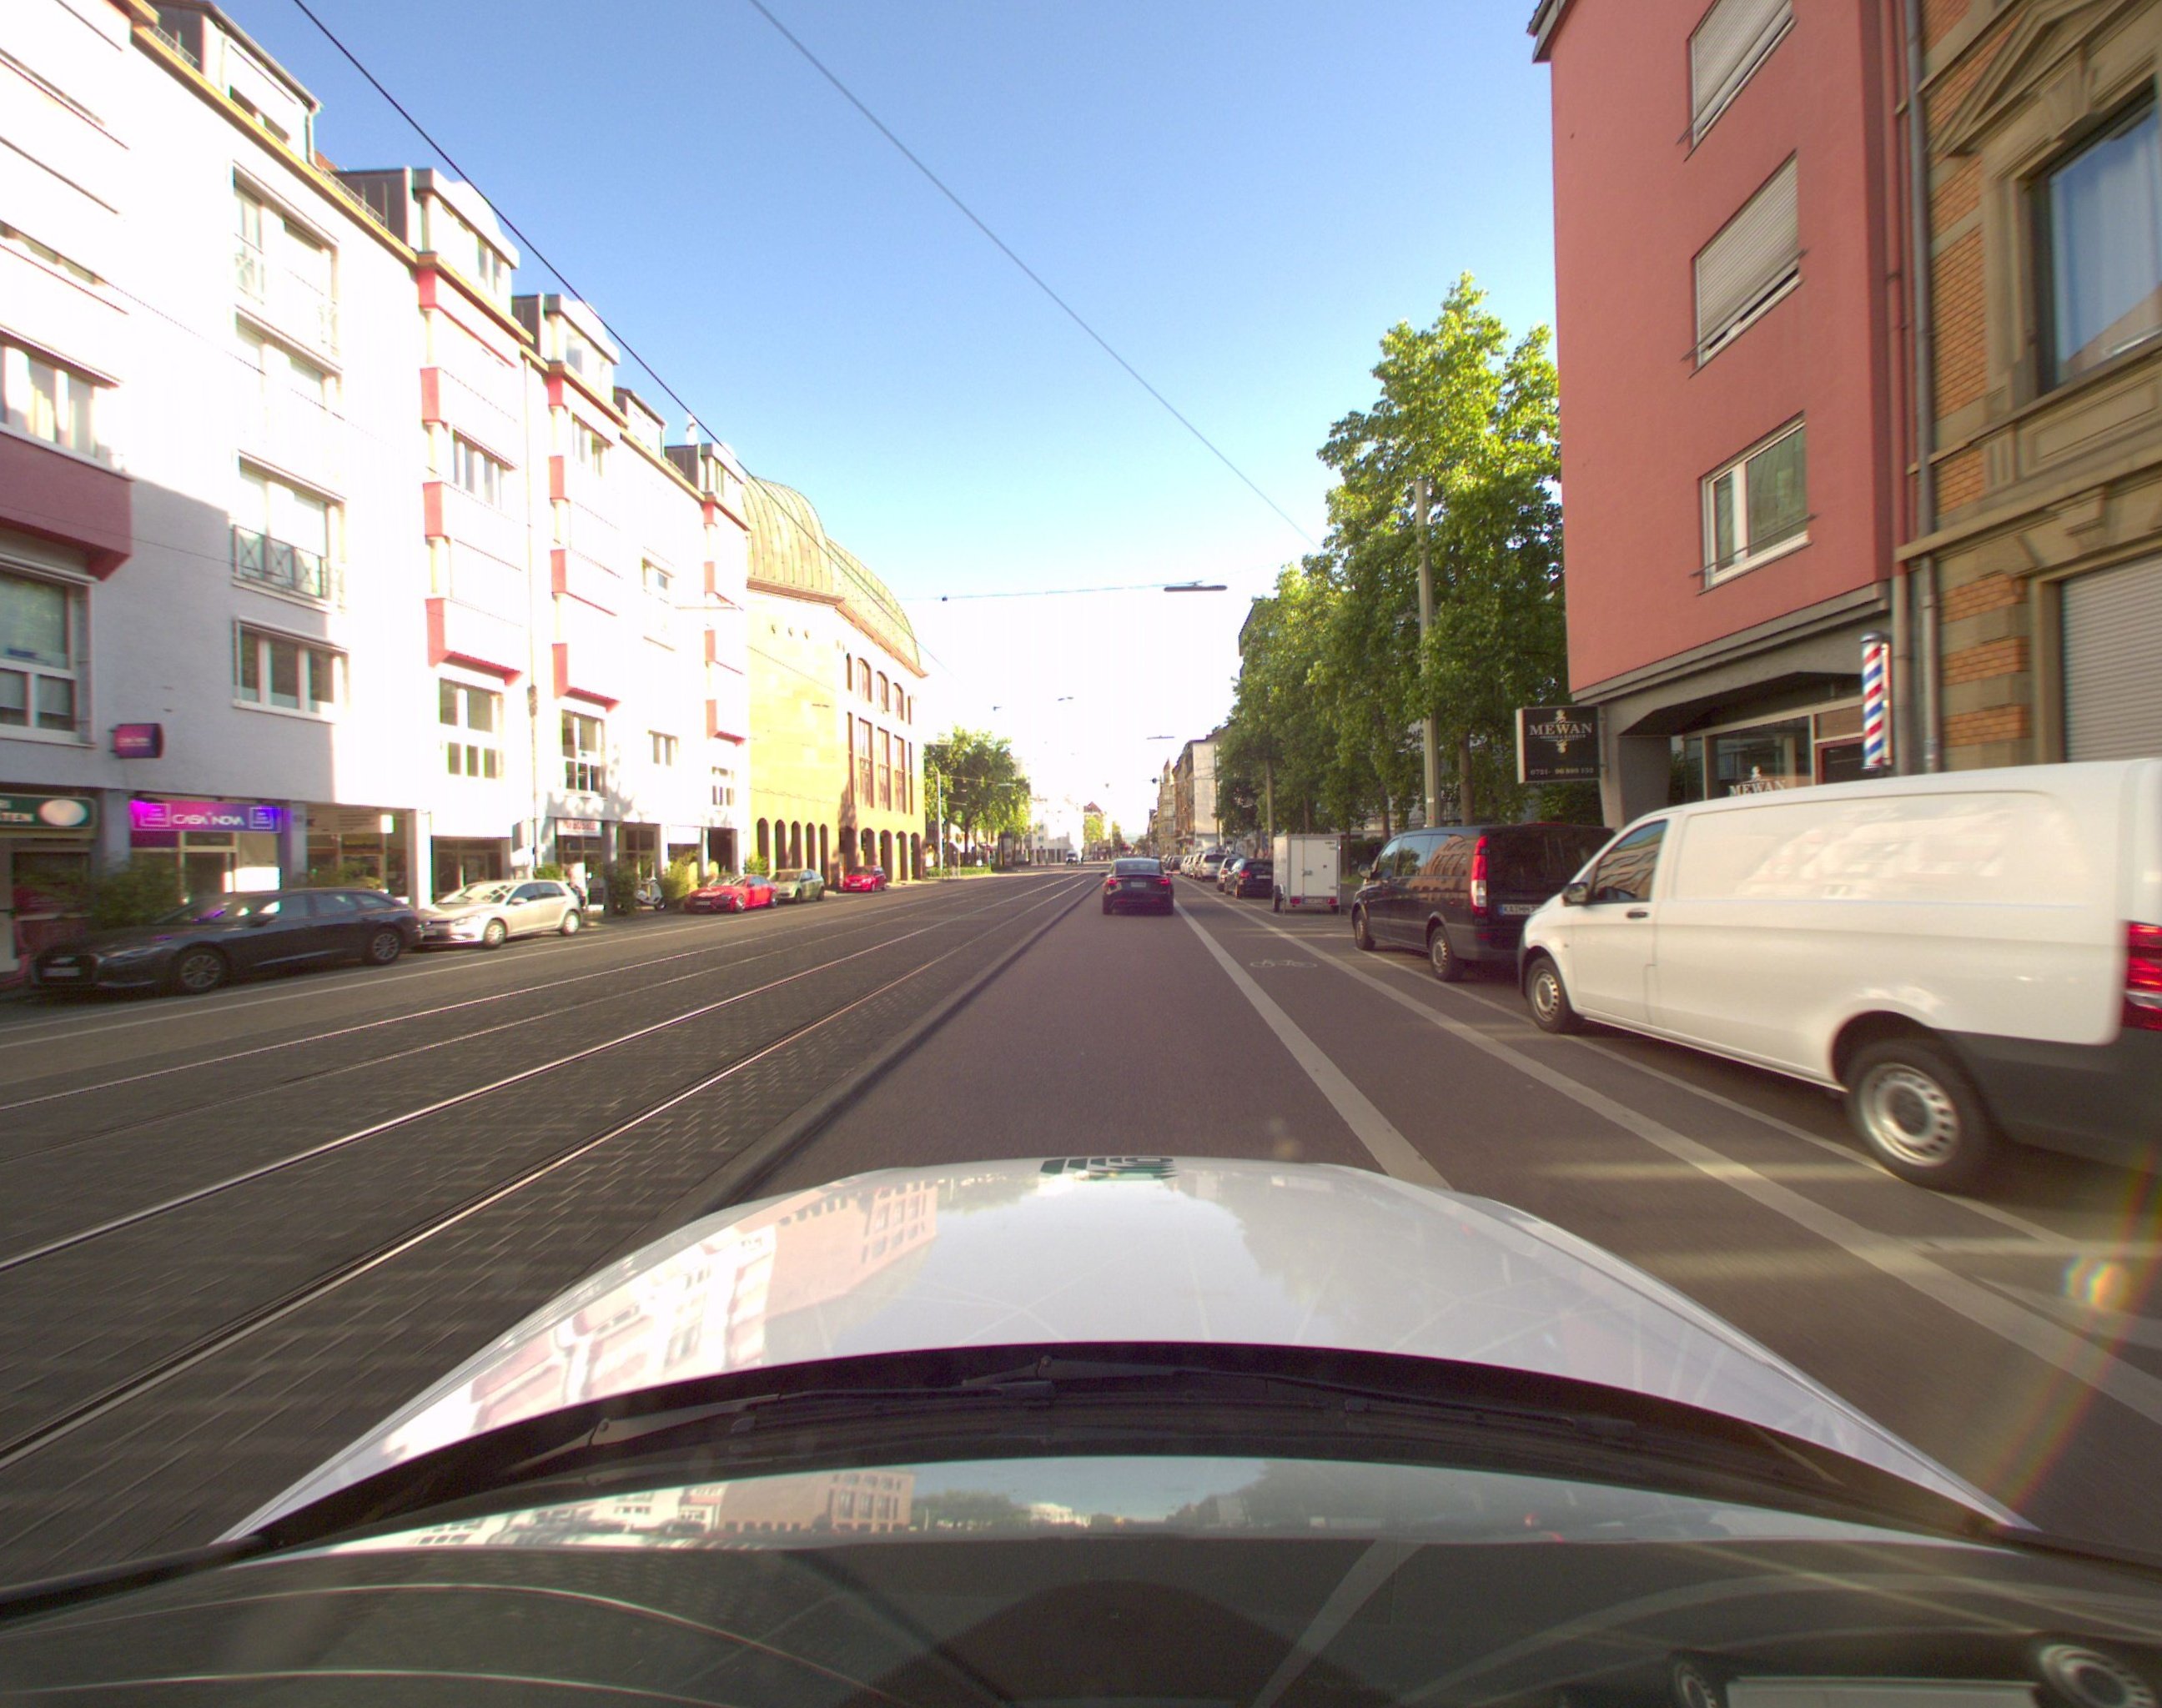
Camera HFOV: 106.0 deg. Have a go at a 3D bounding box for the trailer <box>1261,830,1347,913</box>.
[{"bbox_3d":[6.114,0.444,22.699,1.653,2.117,3.848,0,0,5],"label":"trailer"}]

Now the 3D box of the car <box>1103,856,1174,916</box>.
[{"bbox_3d":[1.497,0.793,21.794,1.712,1.405,3.713,-1,1,3],"label":"car"}]

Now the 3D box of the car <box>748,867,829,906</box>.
[{"bbox_3d":[-12.472,1.345,35.013,1.662,1.468,4.294,0,0,3],"label":"car"}]

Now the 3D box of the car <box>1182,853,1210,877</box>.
[{"bbox_3d":[8.139,0.763,57.851,1.536,1.570,4.445,-1,0,2],"label":"car"}]

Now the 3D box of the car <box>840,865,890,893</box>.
[{"bbox_3d":[-11.936,1.353,45.197,1.652,1.422,3.623,0,0,3],"label":"car"}]

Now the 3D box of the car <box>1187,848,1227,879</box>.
[{"bbox_3d":[8.023,0.568,52.124,1.918,1.834,4.713,-1,1,1],"label":"car"}]

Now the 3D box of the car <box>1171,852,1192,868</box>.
[{"bbox_3d":[9.331,0.569,76.005,1.703,1.457,4.554,-1,0,3],"label":"car"}]

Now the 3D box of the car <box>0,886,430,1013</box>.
[{"bbox_3d":[-13.817,1.402,13.530,1.894,1.458,4.830,-2,0,3],"label":"car"}]

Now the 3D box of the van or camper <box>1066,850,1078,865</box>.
[{"bbox_3d":[-1.700,0.704,156.627,2.132,2.654,6.882,-2,0,1],"label":"van or camper"}]

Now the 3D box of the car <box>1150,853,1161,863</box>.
[{"bbox_3d":[11.576,0.588,126.648,1.586,1.433,3.691,-2,0,4],"label":"car"}]

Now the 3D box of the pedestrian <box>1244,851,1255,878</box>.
[{"bbox_3d":[9.118,0.549,43.979,0.453,1.398,0.424,-4,1,8],"label":"pedestrian"}]

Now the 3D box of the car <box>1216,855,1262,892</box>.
[{"bbox_3d":[6.780,0.790,35.313,1.740,1.443,4.325,-1,0,8],"label":"car"}]

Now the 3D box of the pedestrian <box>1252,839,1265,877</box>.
[{"bbox_3d":[9.578,0.215,43.900,0.462,1.954,0.749,-5,-1,9],"label":"pedestrian"}]

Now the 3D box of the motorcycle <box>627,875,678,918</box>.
[{"bbox_3d":[-14.392,1.409,27.387,0.517,1.297,2.084,0,1,3],"label":"motorcycle"}]

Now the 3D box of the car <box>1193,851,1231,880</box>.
[{"bbox_3d":[7.577,0.643,47.290,1.707,1.590,4.068,0,1,2],"label":"car"}]

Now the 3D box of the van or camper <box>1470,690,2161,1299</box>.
[{"bbox_3d":[4.723,0.474,5.403,1.923,2.037,5.480,0,0,3],"label":"van or camper"}]

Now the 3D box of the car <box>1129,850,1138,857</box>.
[{"bbox_3d":[12.927,-0.088,200.954,1.987,1.525,3.999,-2,0,0],"label":"car"}]

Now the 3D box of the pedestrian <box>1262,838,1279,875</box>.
[{"bbox_3d":[10.155,0.144,43.734,0.665,1.897,0.749,-5,0,9],"label":"pedestrian"}]

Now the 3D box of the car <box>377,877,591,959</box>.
[{"bbox_3d":[-13.518,1.373,18.817,1.745,1.474,4.208,-2,0,1],"label":"car"}]

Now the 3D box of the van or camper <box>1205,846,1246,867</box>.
[{"bbox_3d":[17.245,0.287,97.509,4.619,2.136,1.991,-5,-1,7],"label":"van or camper"}]

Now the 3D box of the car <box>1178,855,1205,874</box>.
[{"bbox_3d":[8.531,0.794,62.972,1.596,1.443,3.886,0,0,1],"label":"car"}]

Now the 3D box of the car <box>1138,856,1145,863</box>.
[{"bbox_3d":[16.557,1.489,223.552,1.837,1.592,4.005,-3,0,4],"label":"car"}]

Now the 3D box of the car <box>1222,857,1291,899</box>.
[{"bbox_3d":[6.409,0.830,30.203,1.795,1.435,4.326,1,0,2],"label":"car"}]

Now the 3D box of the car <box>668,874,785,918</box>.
[{"bbox_3d":[-12.778,1.467,29.758,1.952,1.325,4.824,0,0,3],"label":"car"}]

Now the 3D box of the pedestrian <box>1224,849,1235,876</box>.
[{"bbox_3d":[9.898,0.571,54.432,0.608,1.808,0.604,-3,0,8],"label":"pedestrian"}]

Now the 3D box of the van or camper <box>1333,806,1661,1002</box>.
[{"bbox_3d":[5.166,0.506,11.172,1.963,2.045,5.334,0,0,2],"label":"van or camper"}]

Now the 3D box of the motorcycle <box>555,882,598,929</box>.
[{"bbox_3d":[-14.667,1.472,23.732,0.461,1.194,2.072,0,1,-14],"label":"motorcycle"}]
